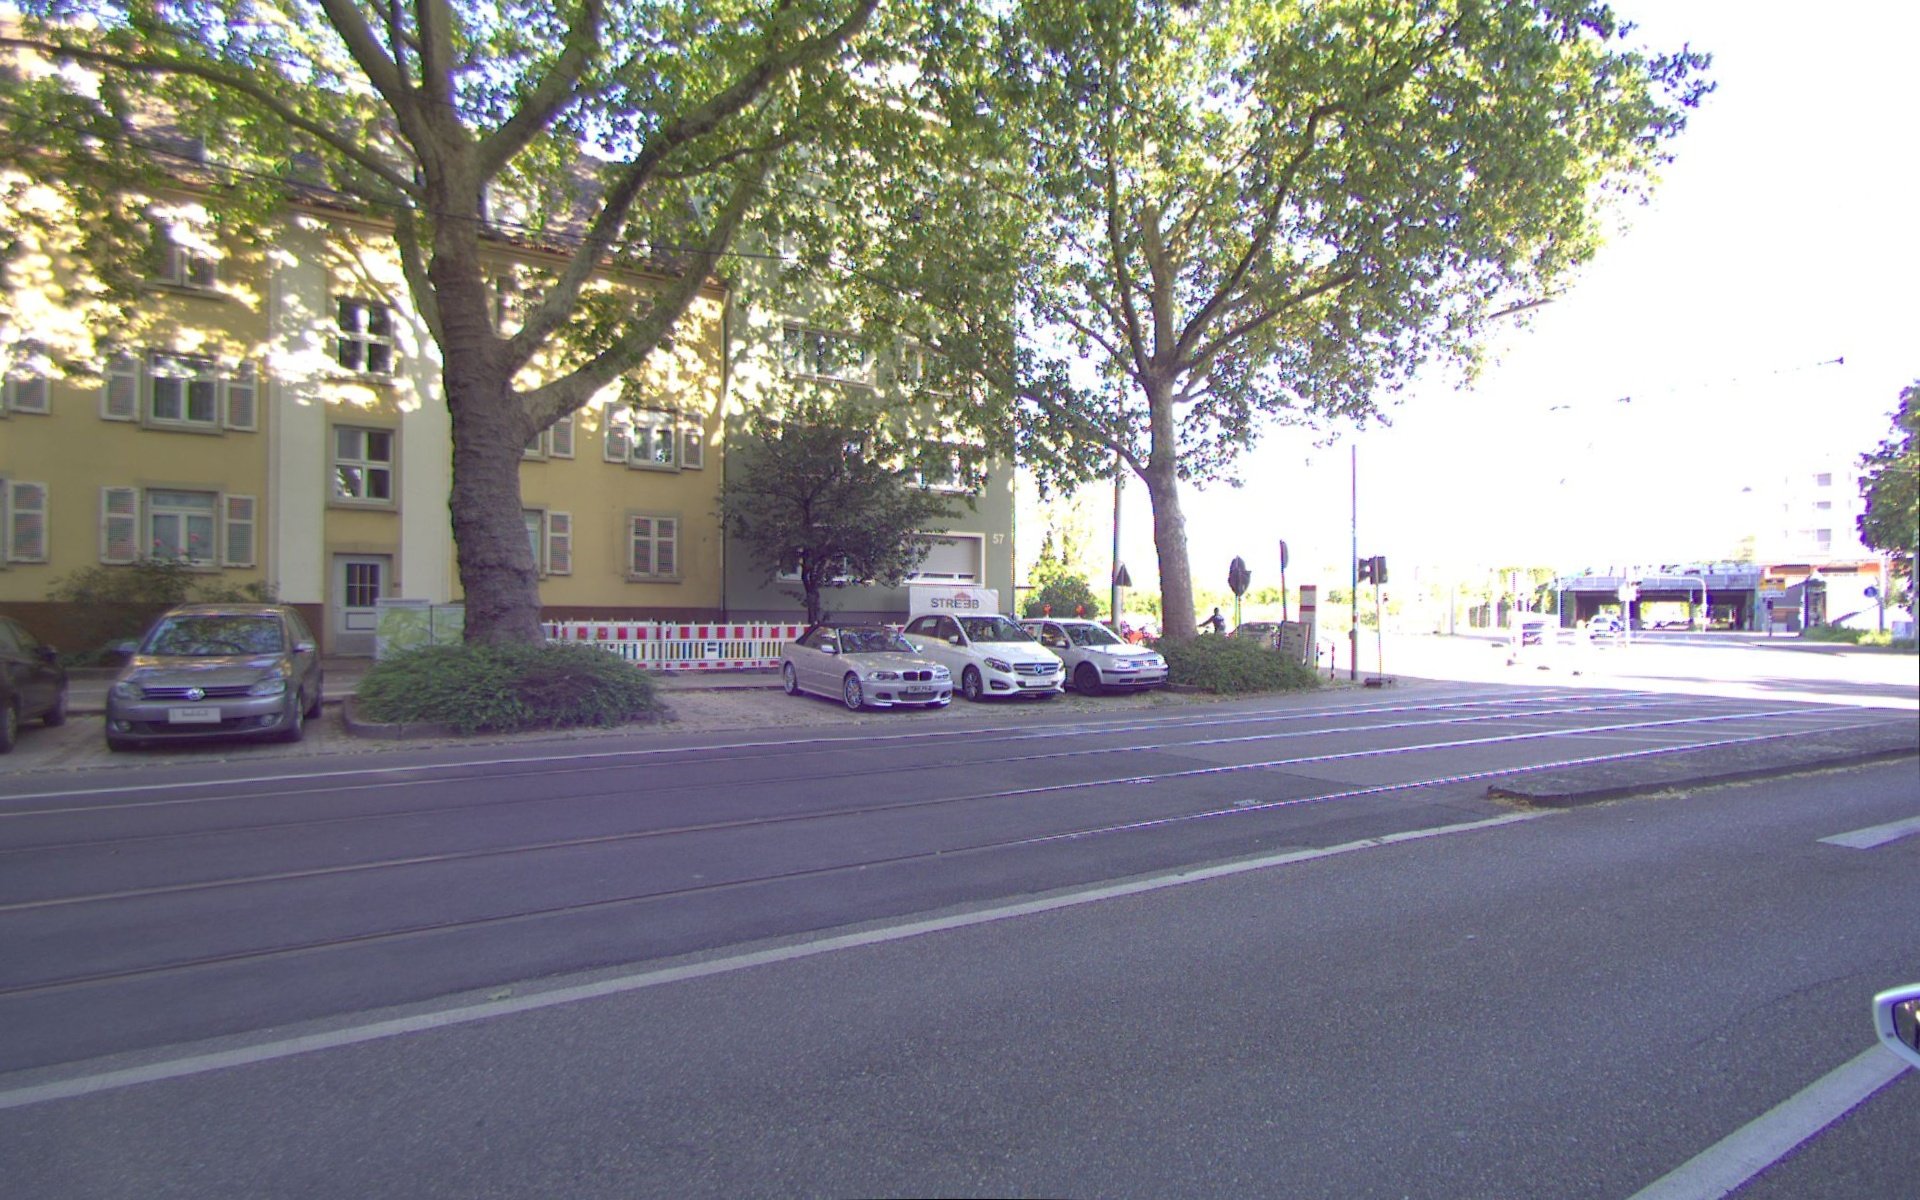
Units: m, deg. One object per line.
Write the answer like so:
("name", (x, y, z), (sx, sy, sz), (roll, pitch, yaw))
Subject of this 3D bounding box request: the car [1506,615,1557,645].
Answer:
("car", (32.427, 1.683, 56.938), (1.803, 1.539, 3.876), (2, 1, 40))

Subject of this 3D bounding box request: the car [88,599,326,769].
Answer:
("car", (-9.042, 0.859, 12.425), (1.793, 1.627, 4.169), (1, 1, -29))

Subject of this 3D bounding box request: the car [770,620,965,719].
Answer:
("car", (-1.735, 1.094, 17.434), (1.708, 1.386, 4.219), (1, 0, -31))

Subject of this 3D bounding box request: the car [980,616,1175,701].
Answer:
("car", (2.295, 1.109, 20.823), (1.656, 1.448, 4.490), (1, 0, -30))

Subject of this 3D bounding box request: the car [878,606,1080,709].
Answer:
("car", (0.216, 0.994, 19.478), (1.777, 1.640, 4.587), (1, 1, -30))

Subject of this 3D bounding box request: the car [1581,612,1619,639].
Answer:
("car", (45.923, 1.808, 72.140), (2.181, 1.847, 4.138), (0, -1, 31))

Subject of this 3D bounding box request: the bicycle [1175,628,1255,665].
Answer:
("bicycle", (7.533, 1.362, 29.757), (2.163, 1.047, 0.831), (0, -1, 38))

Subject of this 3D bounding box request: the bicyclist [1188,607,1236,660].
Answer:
("bicyclist", (7.478, 0.983, 29.795), (1.099, 1.540, 0.918), (0, -1, 38))

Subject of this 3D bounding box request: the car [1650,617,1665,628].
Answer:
("car", (127.929, 4.038, 184.203), (1.966, 1.973, 4.488), (0, -1, 32))

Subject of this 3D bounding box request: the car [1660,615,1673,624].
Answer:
("car", (146.483, 4.083, 208.410), (1.965, 1.739, 3.991), (0, -1, 32))

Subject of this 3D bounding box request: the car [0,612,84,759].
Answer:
("car", (-11.399, 0.880, 11.296), (1.723, 1.448, 3.545), (1, 0, -31))
